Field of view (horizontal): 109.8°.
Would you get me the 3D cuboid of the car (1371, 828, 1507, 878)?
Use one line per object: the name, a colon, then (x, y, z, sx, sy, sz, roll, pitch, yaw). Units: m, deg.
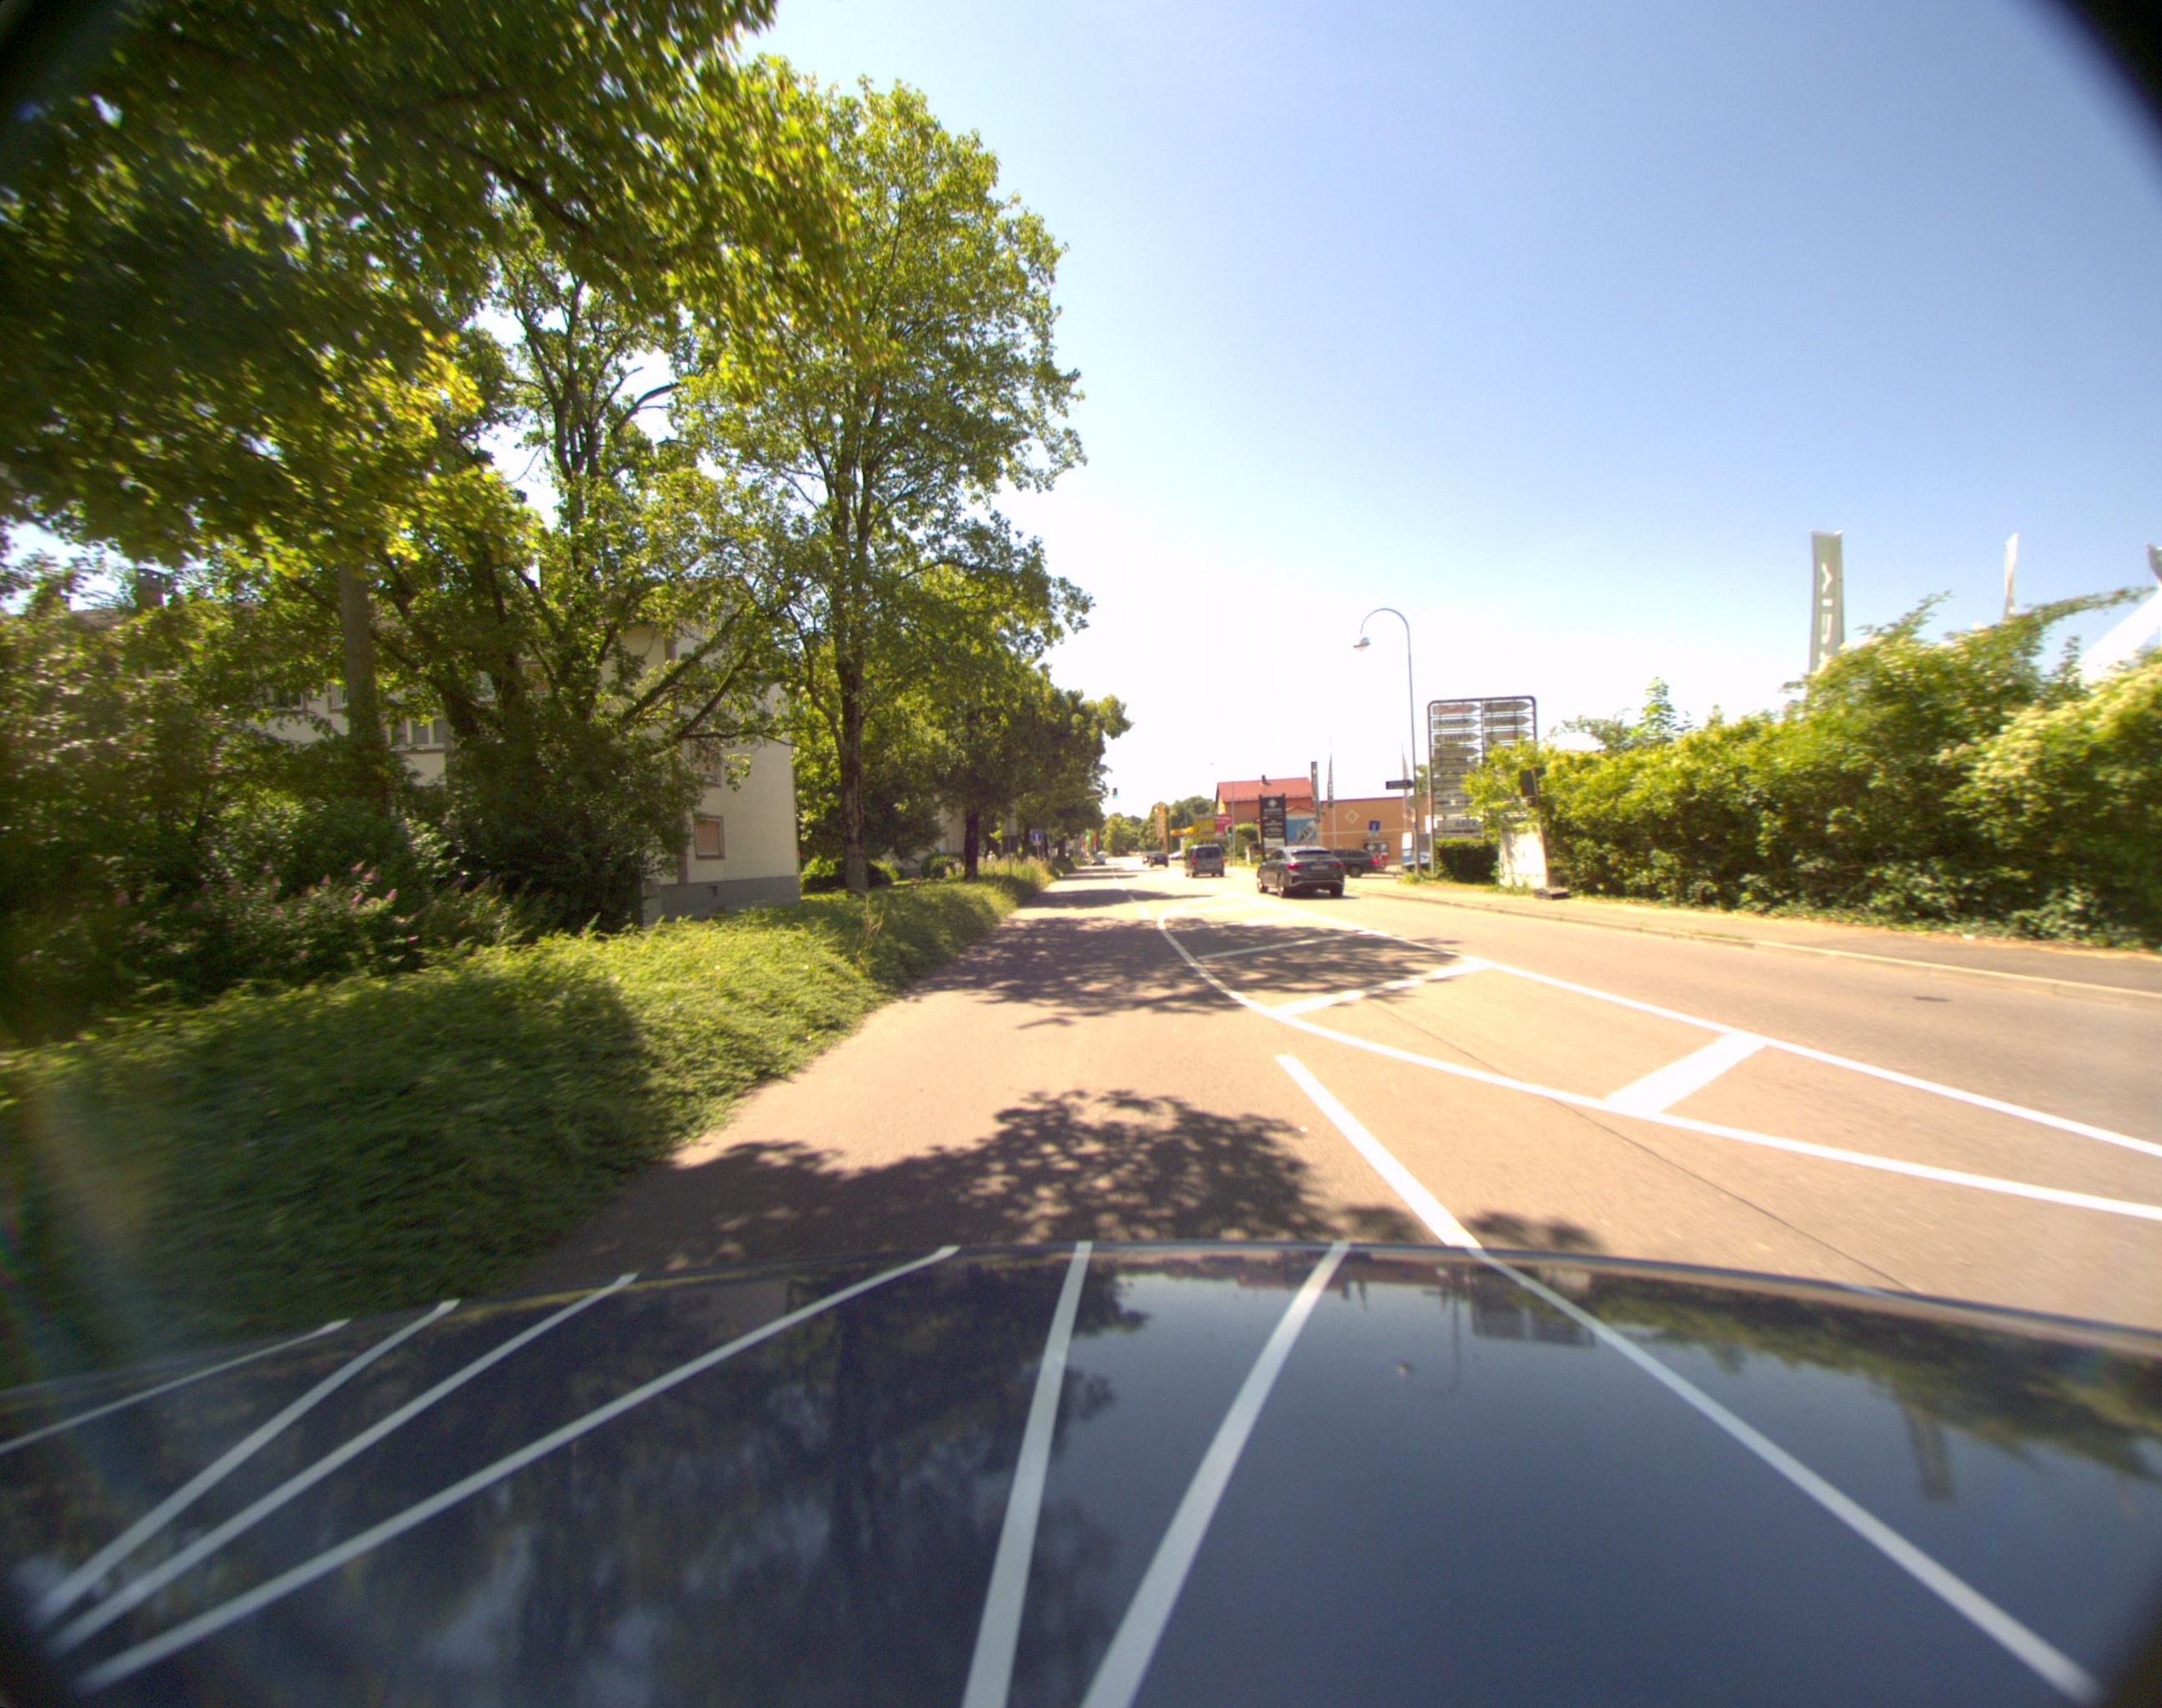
car: (17.769, -0.042, 37.961, 5.708, 2.117, 2.176, -3, 1, 10)

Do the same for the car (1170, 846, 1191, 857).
car: (14.638, -0.330, 111.319, 1.995, 1.412, 4.006, -3, 1, 23)

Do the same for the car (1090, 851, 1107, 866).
car: (2.113, 0.543, 91.053, 1.883, 1.623, 4.321, -2, 0, 2)

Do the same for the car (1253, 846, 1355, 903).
car: (6.901, 0.577, 24.018, 1.884, 1.540, 4.320, -2, 0, 0)

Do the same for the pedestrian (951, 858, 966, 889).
pedestrian: (-7.613, 1.197, 47.187, 0.677, 1.914, 0.621, -3, 1, 0)

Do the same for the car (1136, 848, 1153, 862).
car: (7.959, 0.131, 95.379, 1.883, 1.623, 4.321, -2, 0, 2)

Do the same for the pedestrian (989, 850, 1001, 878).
pedestrian: (-6.006, 0.695, 53.203, 0.677, 1.914, 0.621, -3, 1, 0)

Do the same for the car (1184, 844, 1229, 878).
car: (6.948, 0.342, 42.496, 1.883, 1.731, 4.321, -2, 0, 2)

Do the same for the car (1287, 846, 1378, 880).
car: (12.917, 0.475, 39.069, 4.312, 1.540, 1.888, -2, 1, 19)

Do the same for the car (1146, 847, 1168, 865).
car: (7.379, 0.159, 73.974, 1.883, 1.623, 4.321, -2, 0, 2)
